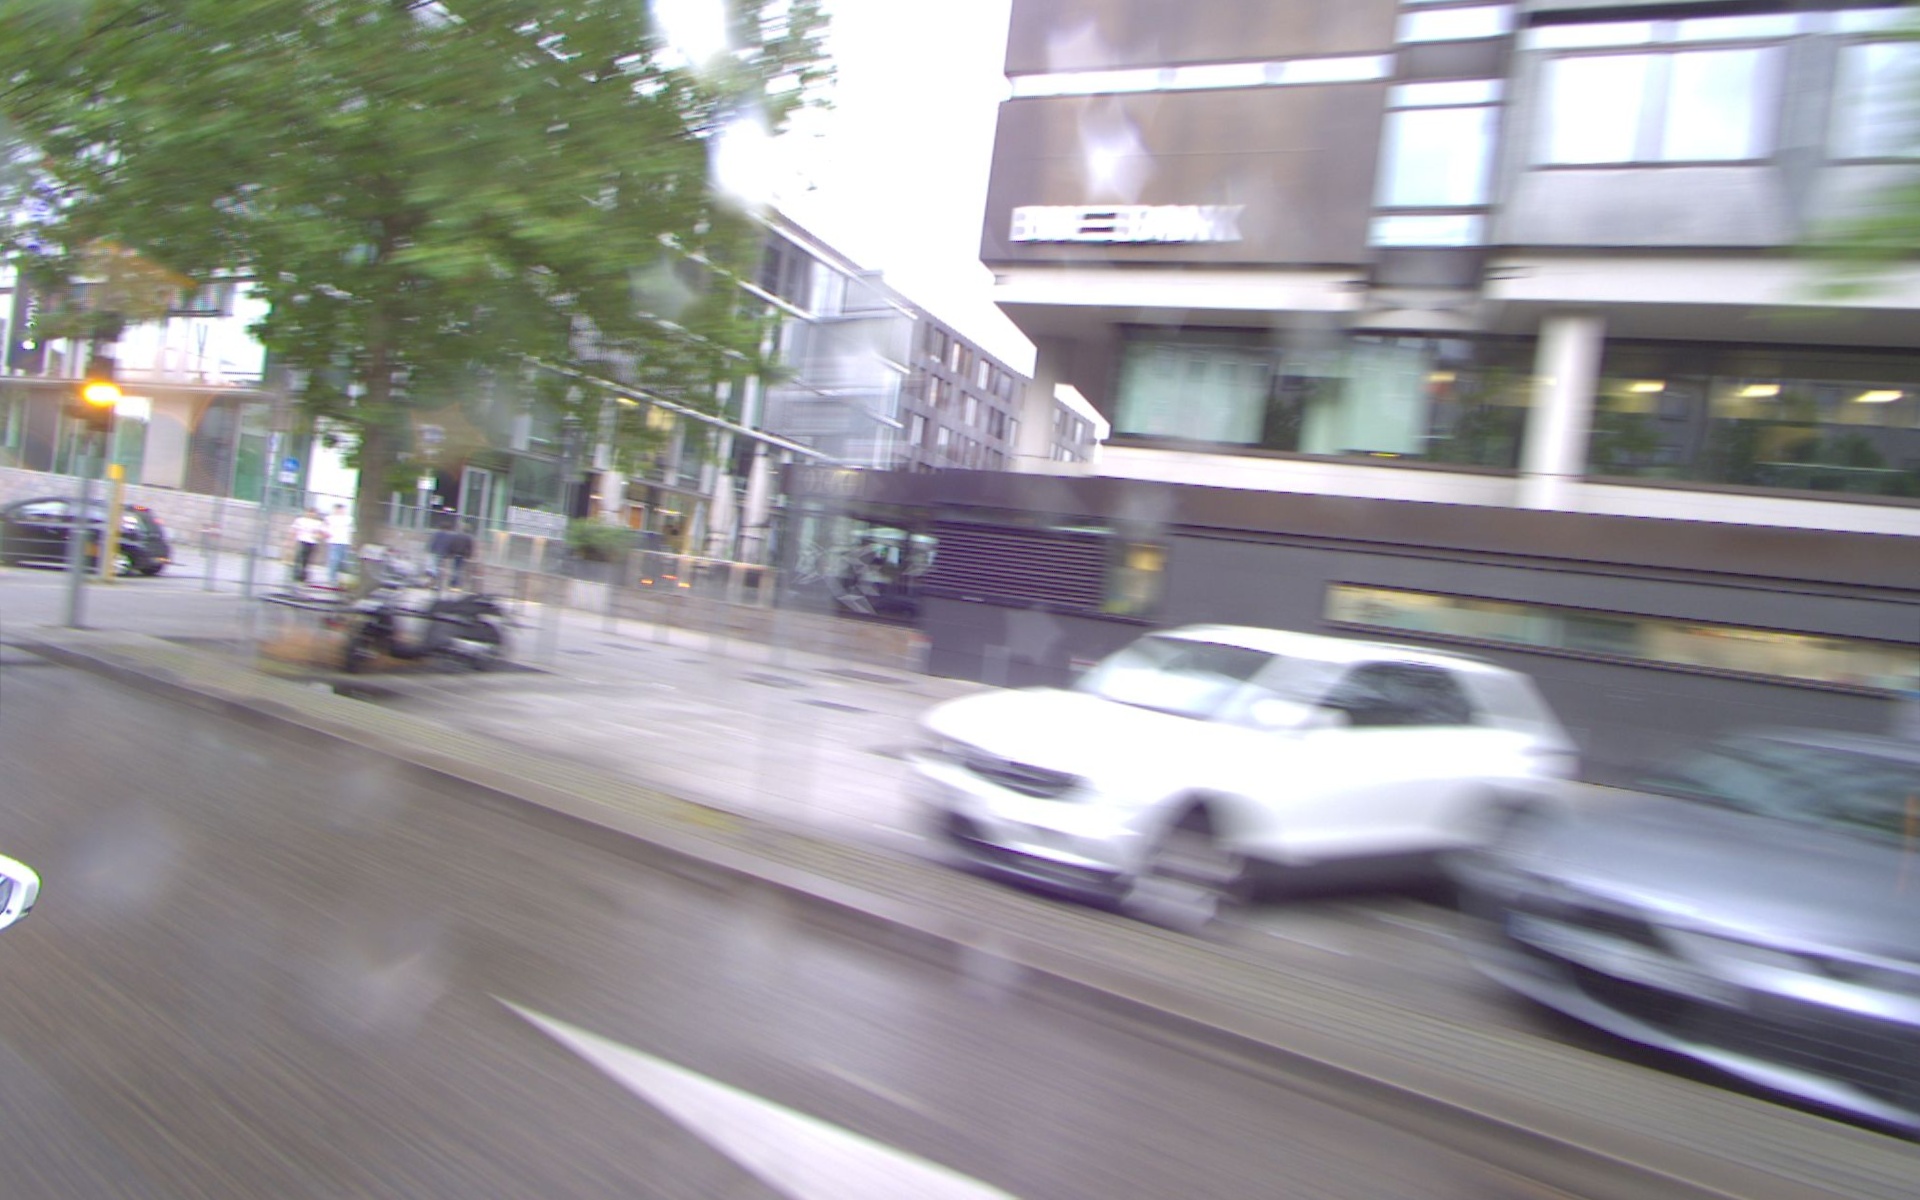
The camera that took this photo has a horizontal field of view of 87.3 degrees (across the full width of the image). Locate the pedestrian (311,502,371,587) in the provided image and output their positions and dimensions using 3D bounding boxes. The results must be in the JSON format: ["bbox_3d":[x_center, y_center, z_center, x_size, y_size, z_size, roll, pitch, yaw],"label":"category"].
[{"bbox_3d":[-14.883,-1.331,24.183,0.885,1.891,0.800,8,1,39],"label":"pedestrian"}]

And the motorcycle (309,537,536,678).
[{"bbox_3d":[-6.077,0.127,11.501,0.667,1.374,2.082,8,0,38],"label":"motorcycle"}]

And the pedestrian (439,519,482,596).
[{"bbox_3d":[-12.819,-1.088,25.810,0.677,1.845,0.643,7,1,-42],"label":"pedestrian"}]

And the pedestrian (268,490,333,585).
[{"bbox_3d":[-15.355,-1.454,23.424,0.741,2.064,0.850,8,1,34],"label":"pedestrian"}]

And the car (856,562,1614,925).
[{"bbox_3d":[1.946,0.932,6.675,4.752,1.670,1.902,8,0,-29],"label":"car"}]

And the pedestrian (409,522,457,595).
[{"bbox_3d":[-13.466,-1.062,25.719,0.776,1.746,0.636,7,1,-44],"label":"pedestrian"}]

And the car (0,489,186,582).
[{"bbox_3d":[-17.806,-1.314,19.679,3.781,1.434,1.628,7,0,-20],"label":"car"}]

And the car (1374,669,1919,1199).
[{"bbox_3d":[4.536,1.407,5.005,4.668,1.492,1.903,8,0,-27],"label":"car"}]
